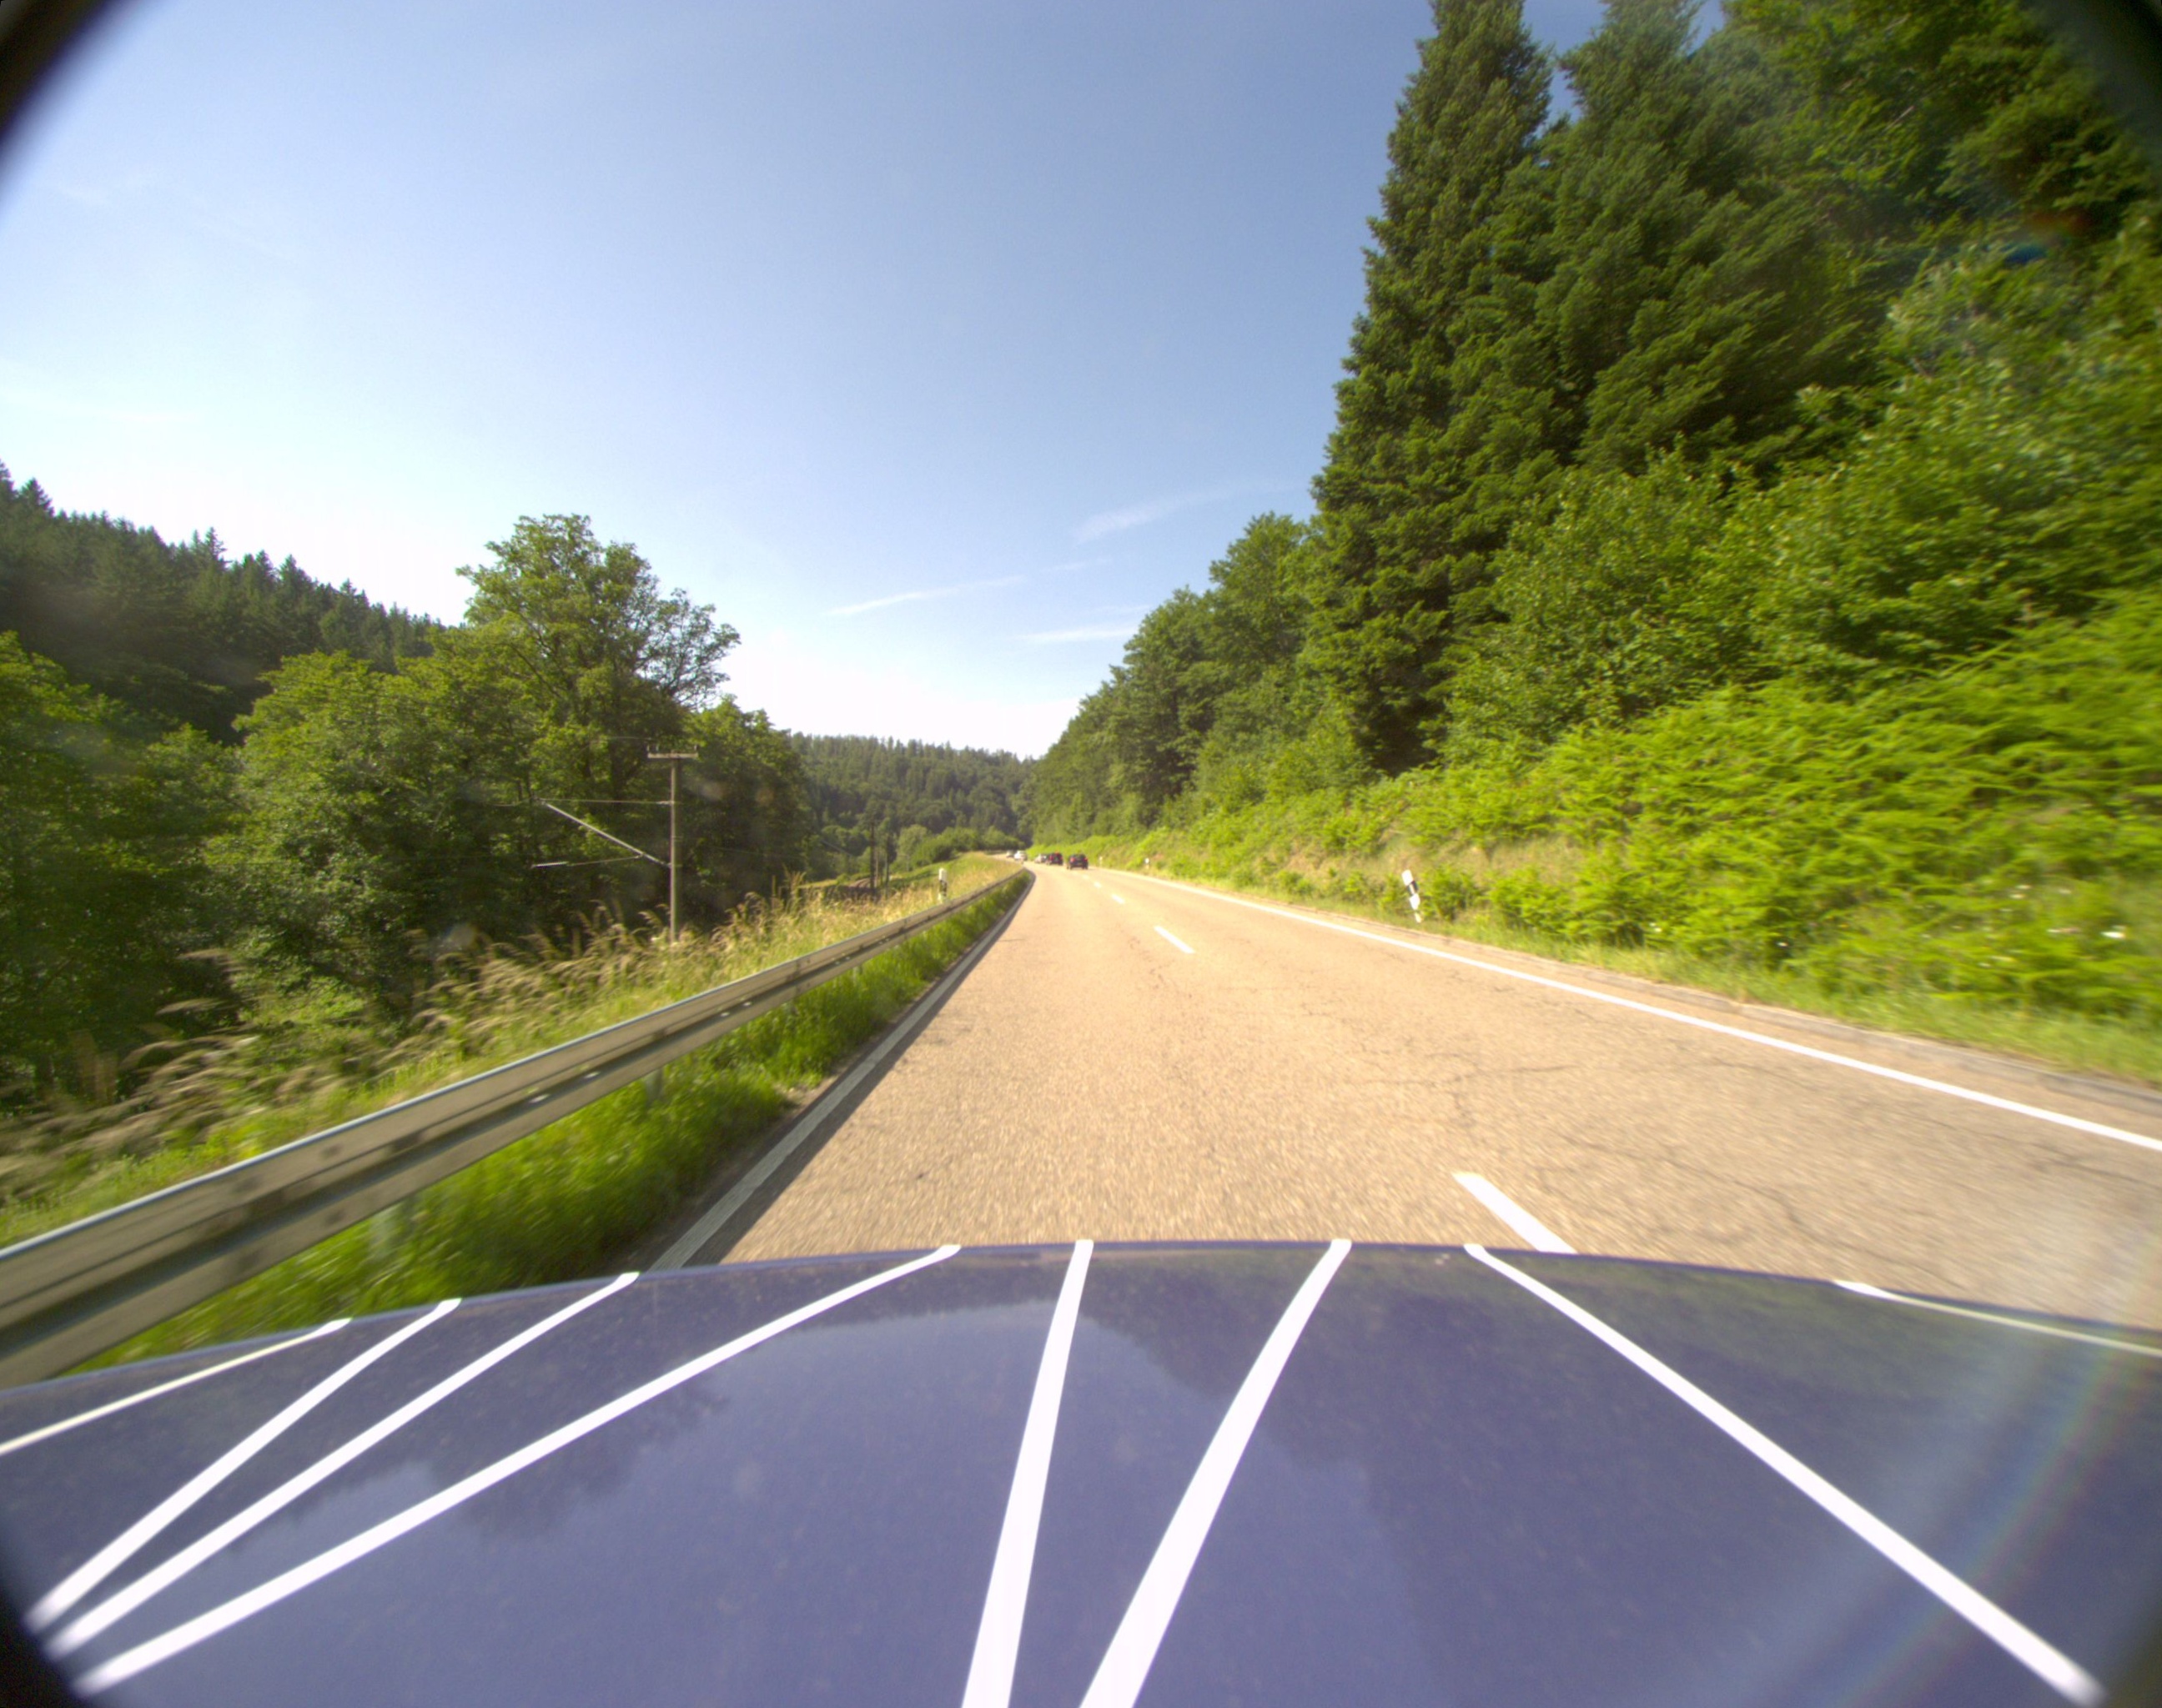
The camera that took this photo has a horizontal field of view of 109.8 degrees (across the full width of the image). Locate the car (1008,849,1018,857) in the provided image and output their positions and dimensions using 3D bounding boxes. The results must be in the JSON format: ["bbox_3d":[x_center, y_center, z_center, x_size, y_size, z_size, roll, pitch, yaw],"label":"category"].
[{"bbox_3d":[-14.867,-0.205,166.089,1.874,1.614,4.469,0,0,-9],"label":"car"}]

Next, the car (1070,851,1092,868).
[{"bbox_3d":[-0.029,0.507,73.132,1.863,1.520,3.998,0,1,-3],"label":"car"}]

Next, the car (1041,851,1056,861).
[{"bbox_3d":[-4.650,0.286,107.700,1.839,1.423,4.675,-1,0,-6],"label":"car"}]

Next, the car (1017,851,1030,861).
[{"bbox_3d":[-10.087,0.348,133.714,2.000,1.673,4.902,0,0,-8],"label":"car"}]

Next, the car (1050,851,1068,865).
[{"bbox_3d":[-2.750,0.492,93.819,1.838,1.619,4.349,-2,0,-5],"label":"car"}]
